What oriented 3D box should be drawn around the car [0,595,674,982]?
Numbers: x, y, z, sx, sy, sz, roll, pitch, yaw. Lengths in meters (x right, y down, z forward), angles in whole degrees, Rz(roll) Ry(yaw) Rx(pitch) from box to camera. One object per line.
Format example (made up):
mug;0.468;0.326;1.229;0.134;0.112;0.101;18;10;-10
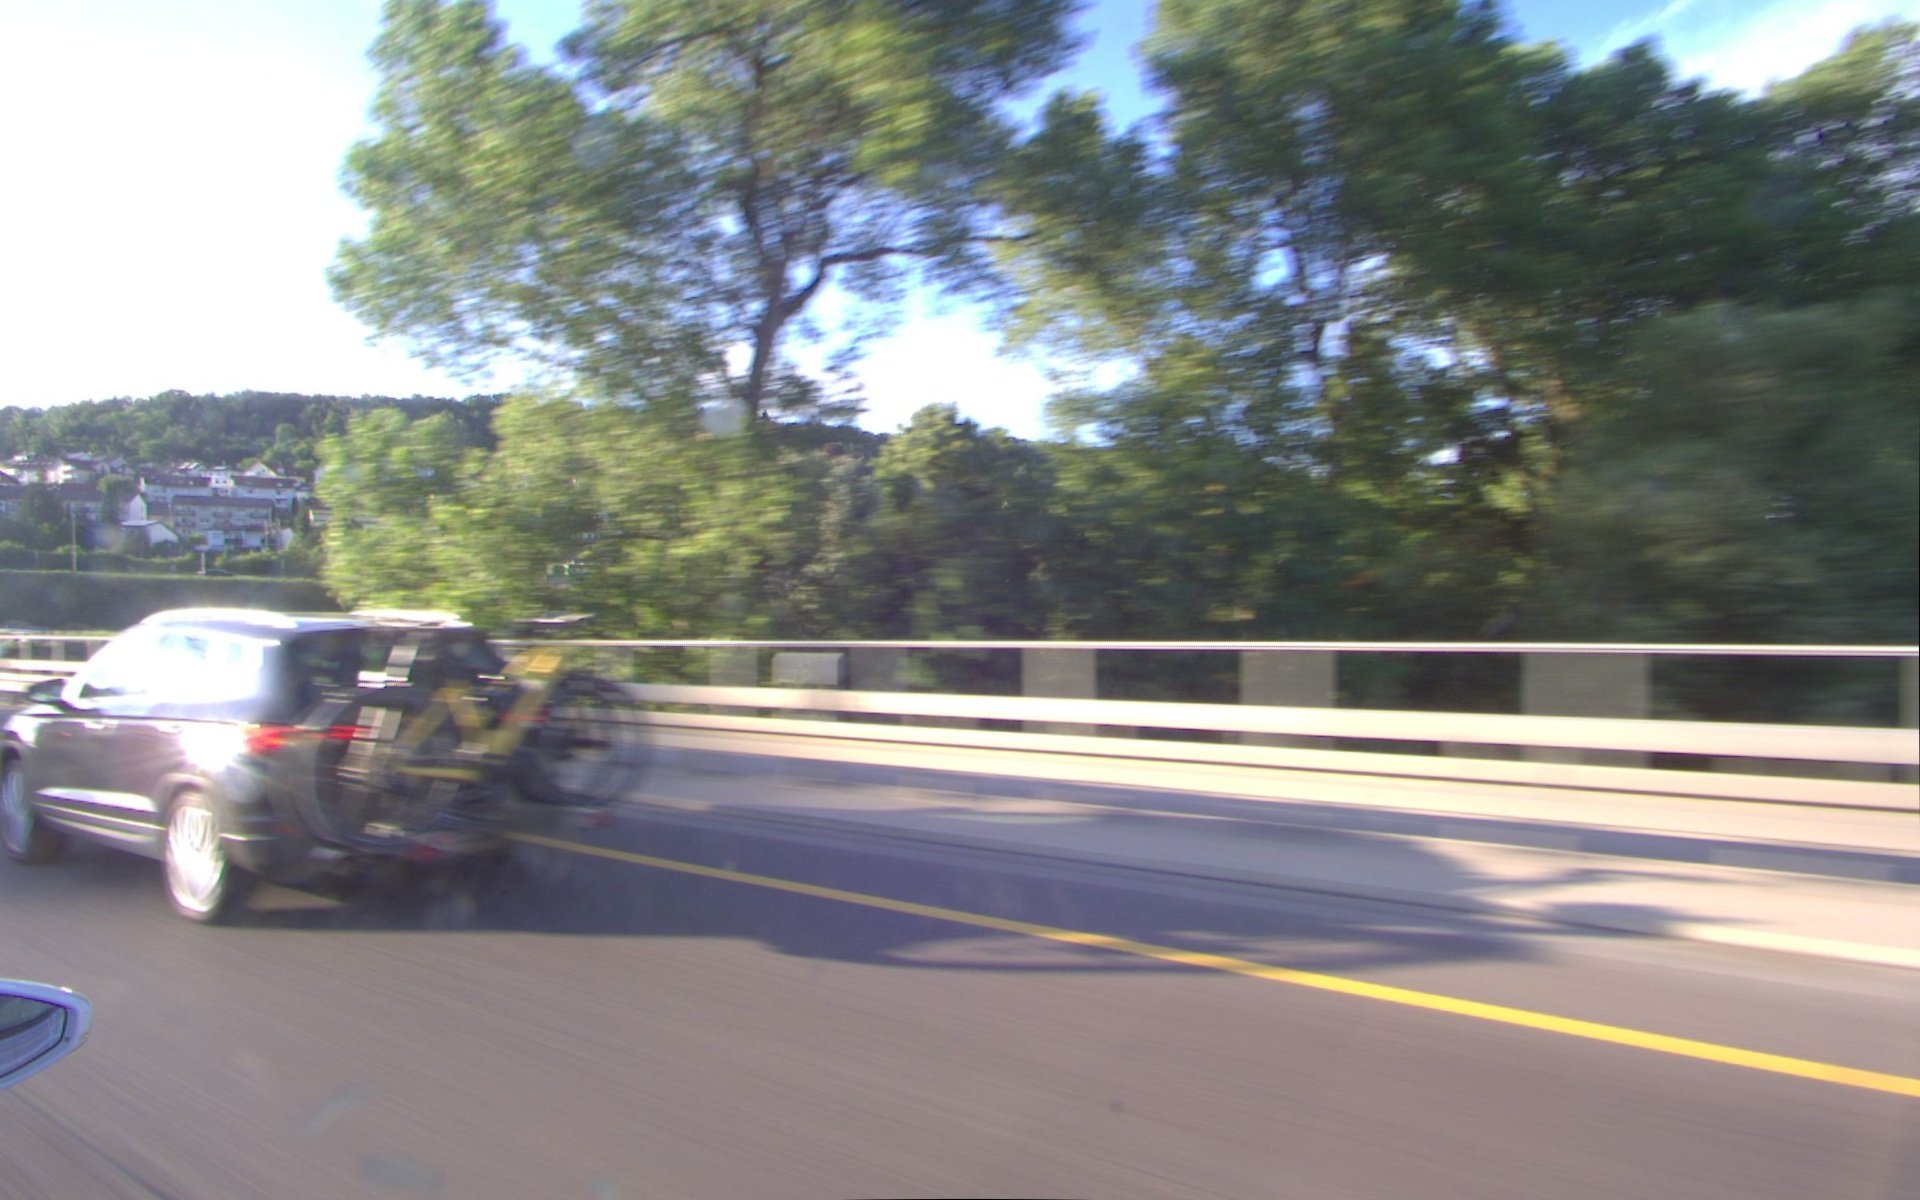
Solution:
car;-4.219;0.823;6.278;4.893;1.620;1.872;0;-1;32
